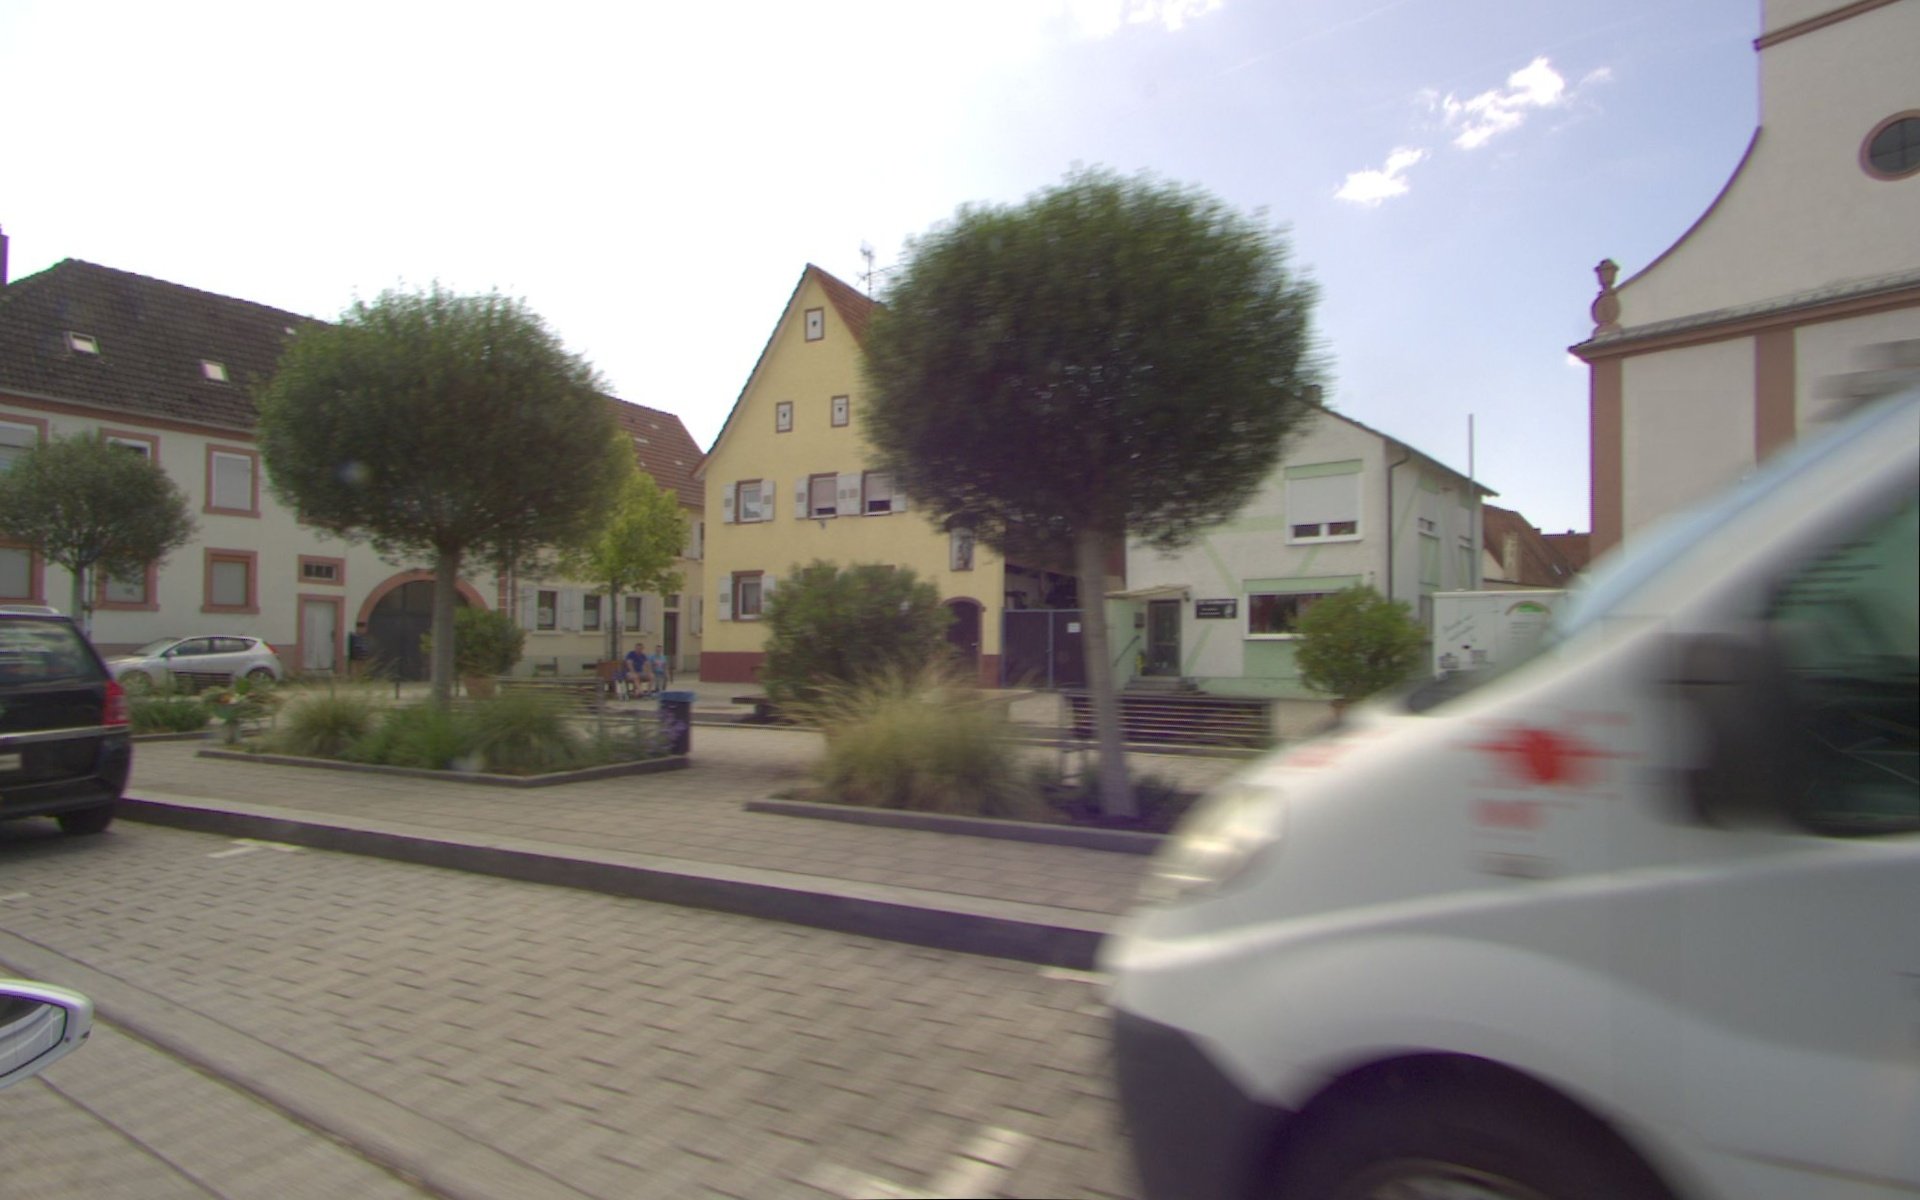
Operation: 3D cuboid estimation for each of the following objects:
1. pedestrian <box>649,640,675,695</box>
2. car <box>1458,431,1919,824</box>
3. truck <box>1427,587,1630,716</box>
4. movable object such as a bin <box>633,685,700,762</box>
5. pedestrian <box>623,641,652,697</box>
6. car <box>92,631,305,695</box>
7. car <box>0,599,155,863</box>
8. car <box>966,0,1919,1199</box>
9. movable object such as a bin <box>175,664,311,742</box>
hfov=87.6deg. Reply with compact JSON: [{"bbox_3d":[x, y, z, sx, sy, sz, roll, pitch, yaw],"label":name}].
[{"bbox_3d":[-7.234,1.635,24.288,0.528,1.300,0.788,0,-2,-22],"label":"pedestrian"},{"bbox_3d":[8.419,0.269,8.476,2.736,2.999,7.048,4,-5,-43],"label":"car"},{"bbox_3d":[13.339,1.156,23.205,2.923,2.529,6.773,-1,-2,40],"label":"truck"},{"bbox_3d":[-3.081,1.284,10.518,0.386,0.742,0.564,-1,-2,32],"label":"movable object such as a bin"},{"bbox_3d":[-7.613,1.613,23.611,0.604,1.300,0.671,0,-2,-22],"label":"pedestrian"},{"bbox_3d":[-19.406,1.568,25.690,1.800,1.492,3.985,-1,-3,34],"label":"car"},{"bbox_3d":[-7.686,0.824,7.059,4.353,1.585,1.766,-1,-1,31],"label":"car"},{"bbox_3d":[2.670,0.225,1.568,5.024,2.206,1.940,-1,0,30],"label":"car"},{"bbox_3d":[-8.668,1.220,12.111,1.413,0.877,0.735,-1,-3,26],"label":"movable object such as a bin"}]
